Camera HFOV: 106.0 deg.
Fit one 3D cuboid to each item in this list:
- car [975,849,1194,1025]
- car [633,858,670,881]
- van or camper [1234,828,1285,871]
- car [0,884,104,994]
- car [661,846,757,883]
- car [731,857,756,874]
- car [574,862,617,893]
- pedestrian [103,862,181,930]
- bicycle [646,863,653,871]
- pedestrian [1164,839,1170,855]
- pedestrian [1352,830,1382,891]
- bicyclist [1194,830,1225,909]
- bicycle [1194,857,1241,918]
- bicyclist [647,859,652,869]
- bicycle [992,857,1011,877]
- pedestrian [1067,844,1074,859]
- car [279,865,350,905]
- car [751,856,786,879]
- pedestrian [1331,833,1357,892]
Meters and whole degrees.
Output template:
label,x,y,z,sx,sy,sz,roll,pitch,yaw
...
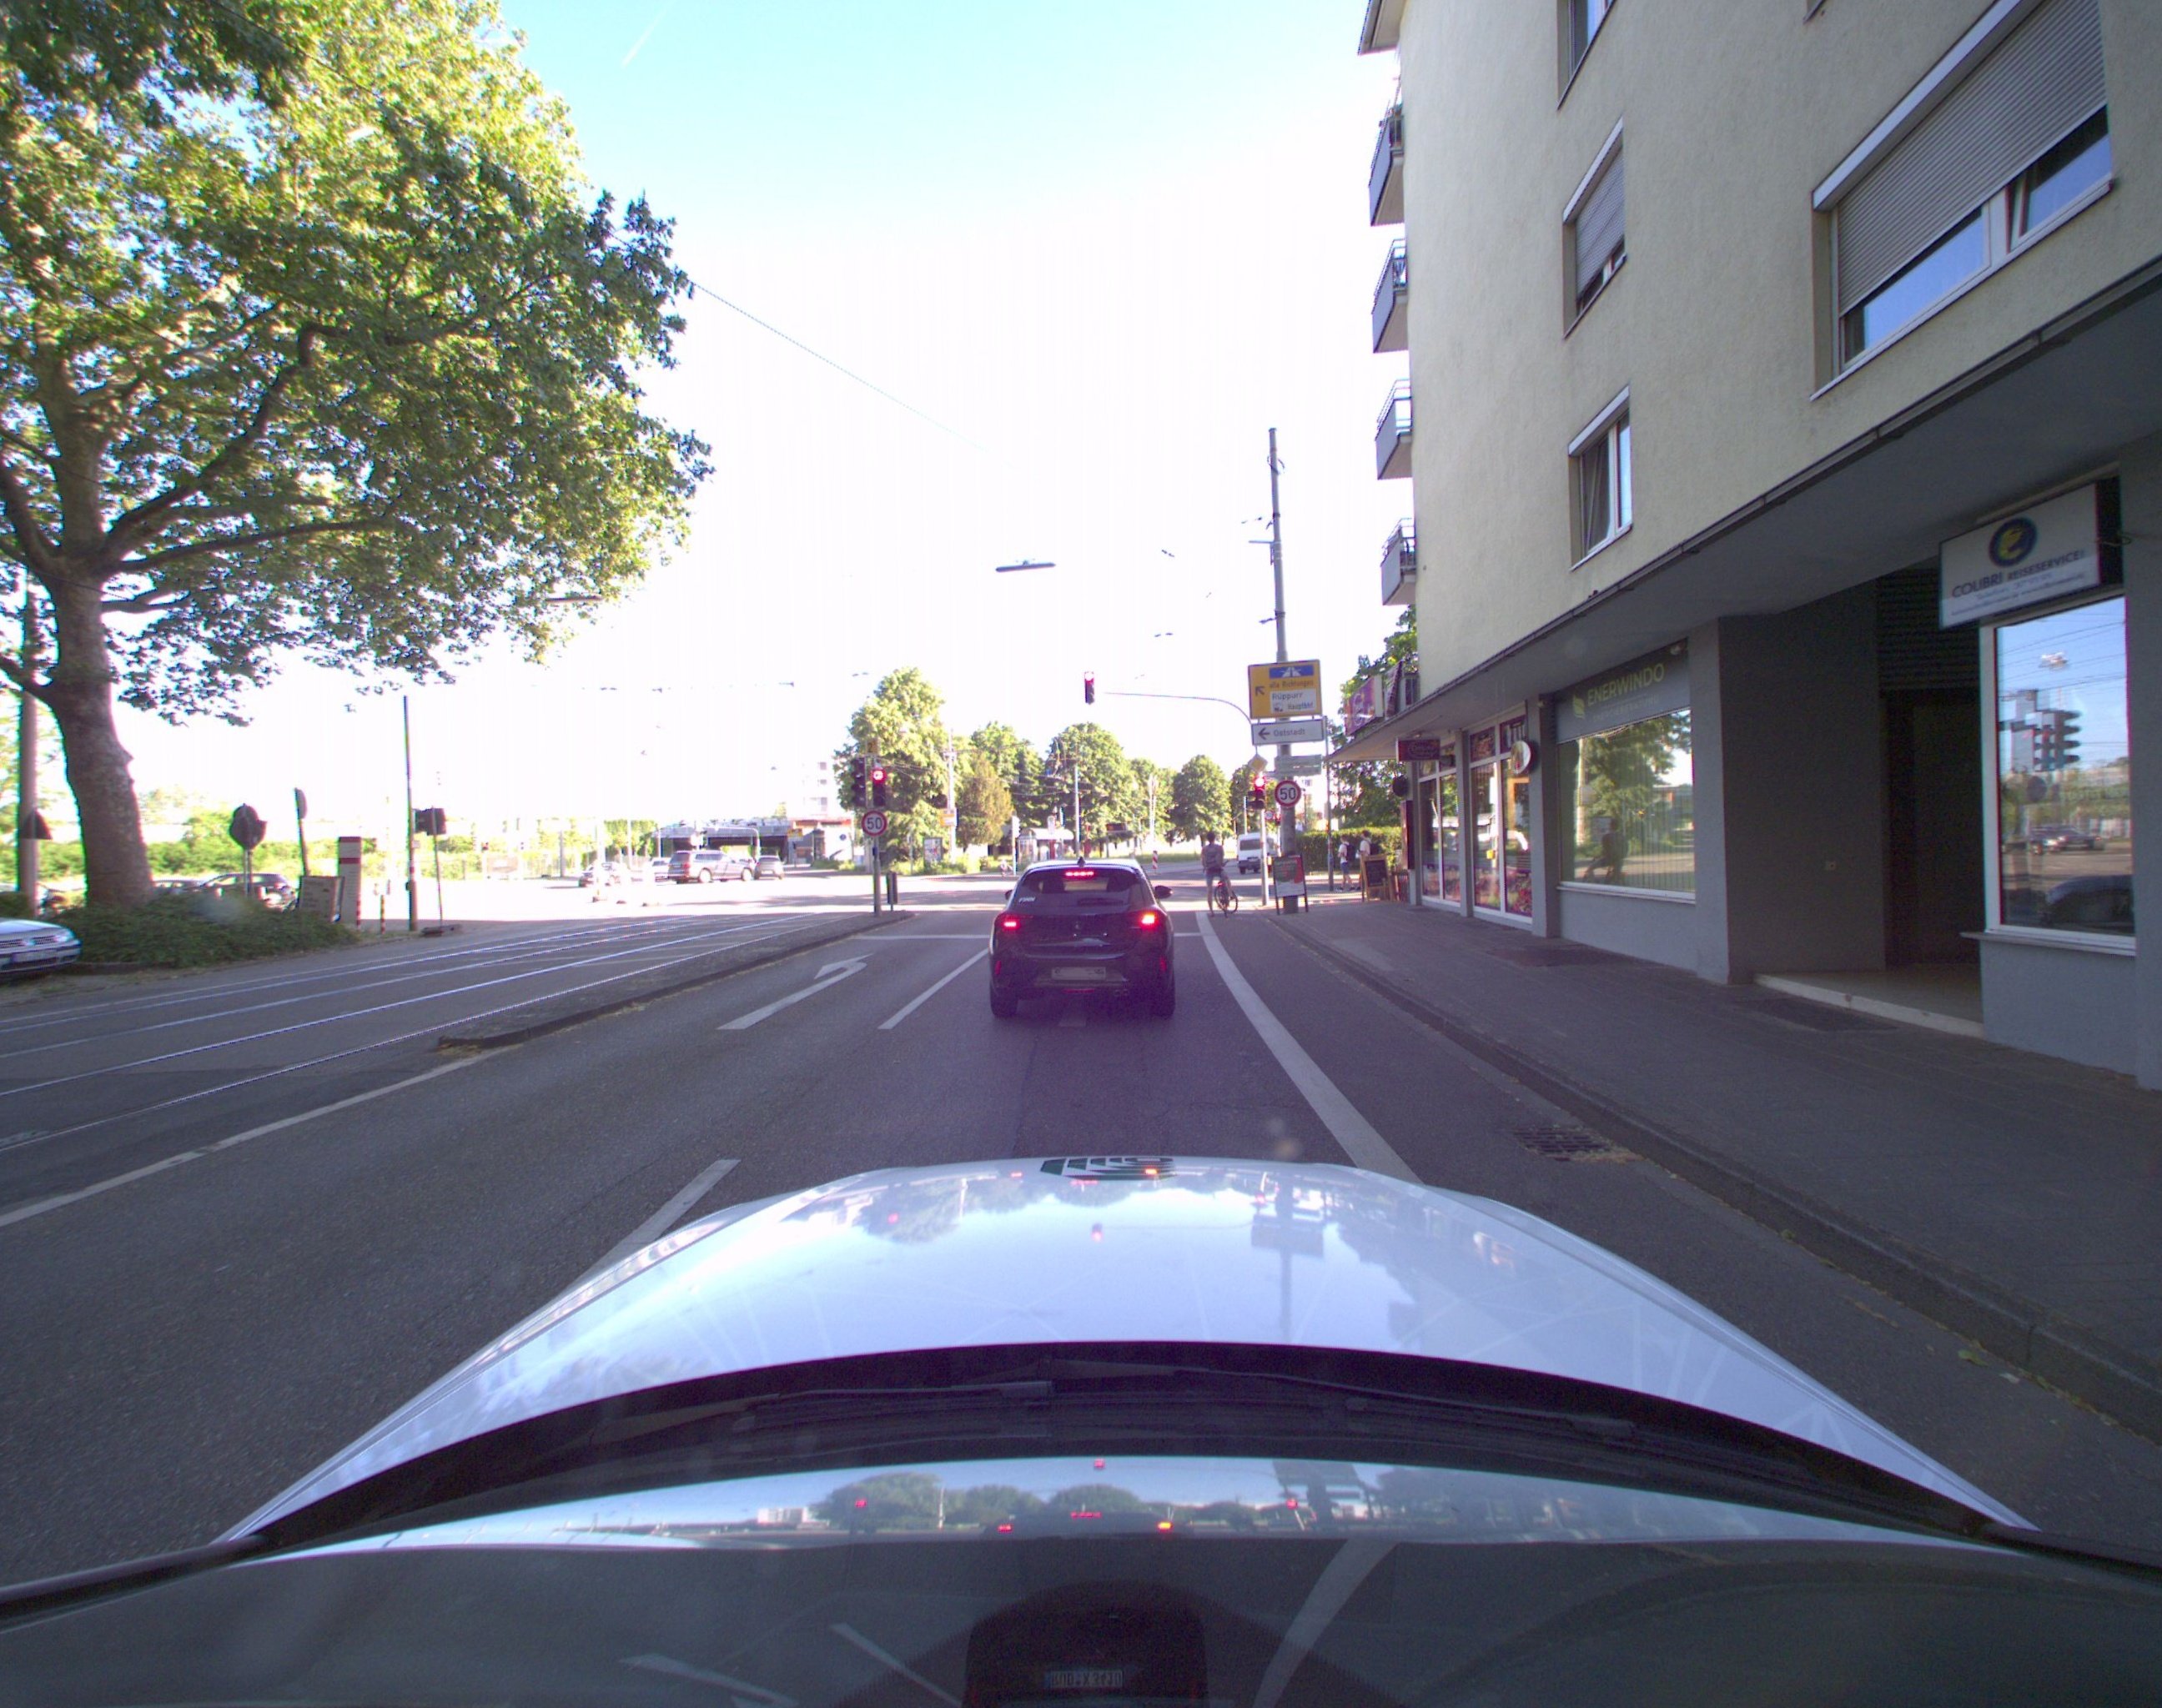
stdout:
label,x,y,z,sx,sy,sz,roll,pitch,yaw
car,0.092,0.701,8.931,1.833,1.462,3.985,-1,0,2
car,-30.112,1.081,57.166,1.892,1.585,3.809,0,-1,-21
van or camper,10.170,-0.223,46.160,2.011,2.310,4.565,-1,-1,23
car,-16.630,1.195,11.344,3.957,1.453,1.670,-1,0,-1
car,-20.863,0.557,45.945,1.891,1.881,4.873,-2,0,23
car,-31.570,1.060,76.155,2.000,1.552,4.162,0,-1,-25
car,-29.933,1.427,50.295,1.993,1.764,4.321,-2,0,-28
pedestrian,-23.291,1.014,20.226,0.842,1.647,0.931,0,-1,1
bicycle,-52.098,1.589,98.333,0.528,0.982,1.564,-1,0,-24
pedestrian,10.320,-0.868,97.822,0.513,1.872,0.609,-1,-1,44
pedestrian,8.717,0.186,24.821,0.631,1.820,0.745,0,-1,0
bicyclist,2.829,0.330,17.844,0.529,1.692,0.571,-2,0,19
bicycle,3.038,0.714,18.004,0.747,1.235,2.024,-2,0,16
bicyclist,-52.081,1.192,98.278,0.528,1.222,0.526,-1,0,-23
bicycle,-4.528,0.745,46.656,0.793,1.064,2.186,-2,0,2
pedestrian,-1.246,-0.287,97.906,0.736,1.872,0.661,0,-1,-4
car,-35.993,1.424,38.319,1.608,1.701,3.607,-2,0,-30
car,-21.461,0.940,56.052,1.801,1.519,4.183,0,-1,-16
pedestrian,8.052,0.263,24.915,0.630,1.763,0.583,0,-1,5
